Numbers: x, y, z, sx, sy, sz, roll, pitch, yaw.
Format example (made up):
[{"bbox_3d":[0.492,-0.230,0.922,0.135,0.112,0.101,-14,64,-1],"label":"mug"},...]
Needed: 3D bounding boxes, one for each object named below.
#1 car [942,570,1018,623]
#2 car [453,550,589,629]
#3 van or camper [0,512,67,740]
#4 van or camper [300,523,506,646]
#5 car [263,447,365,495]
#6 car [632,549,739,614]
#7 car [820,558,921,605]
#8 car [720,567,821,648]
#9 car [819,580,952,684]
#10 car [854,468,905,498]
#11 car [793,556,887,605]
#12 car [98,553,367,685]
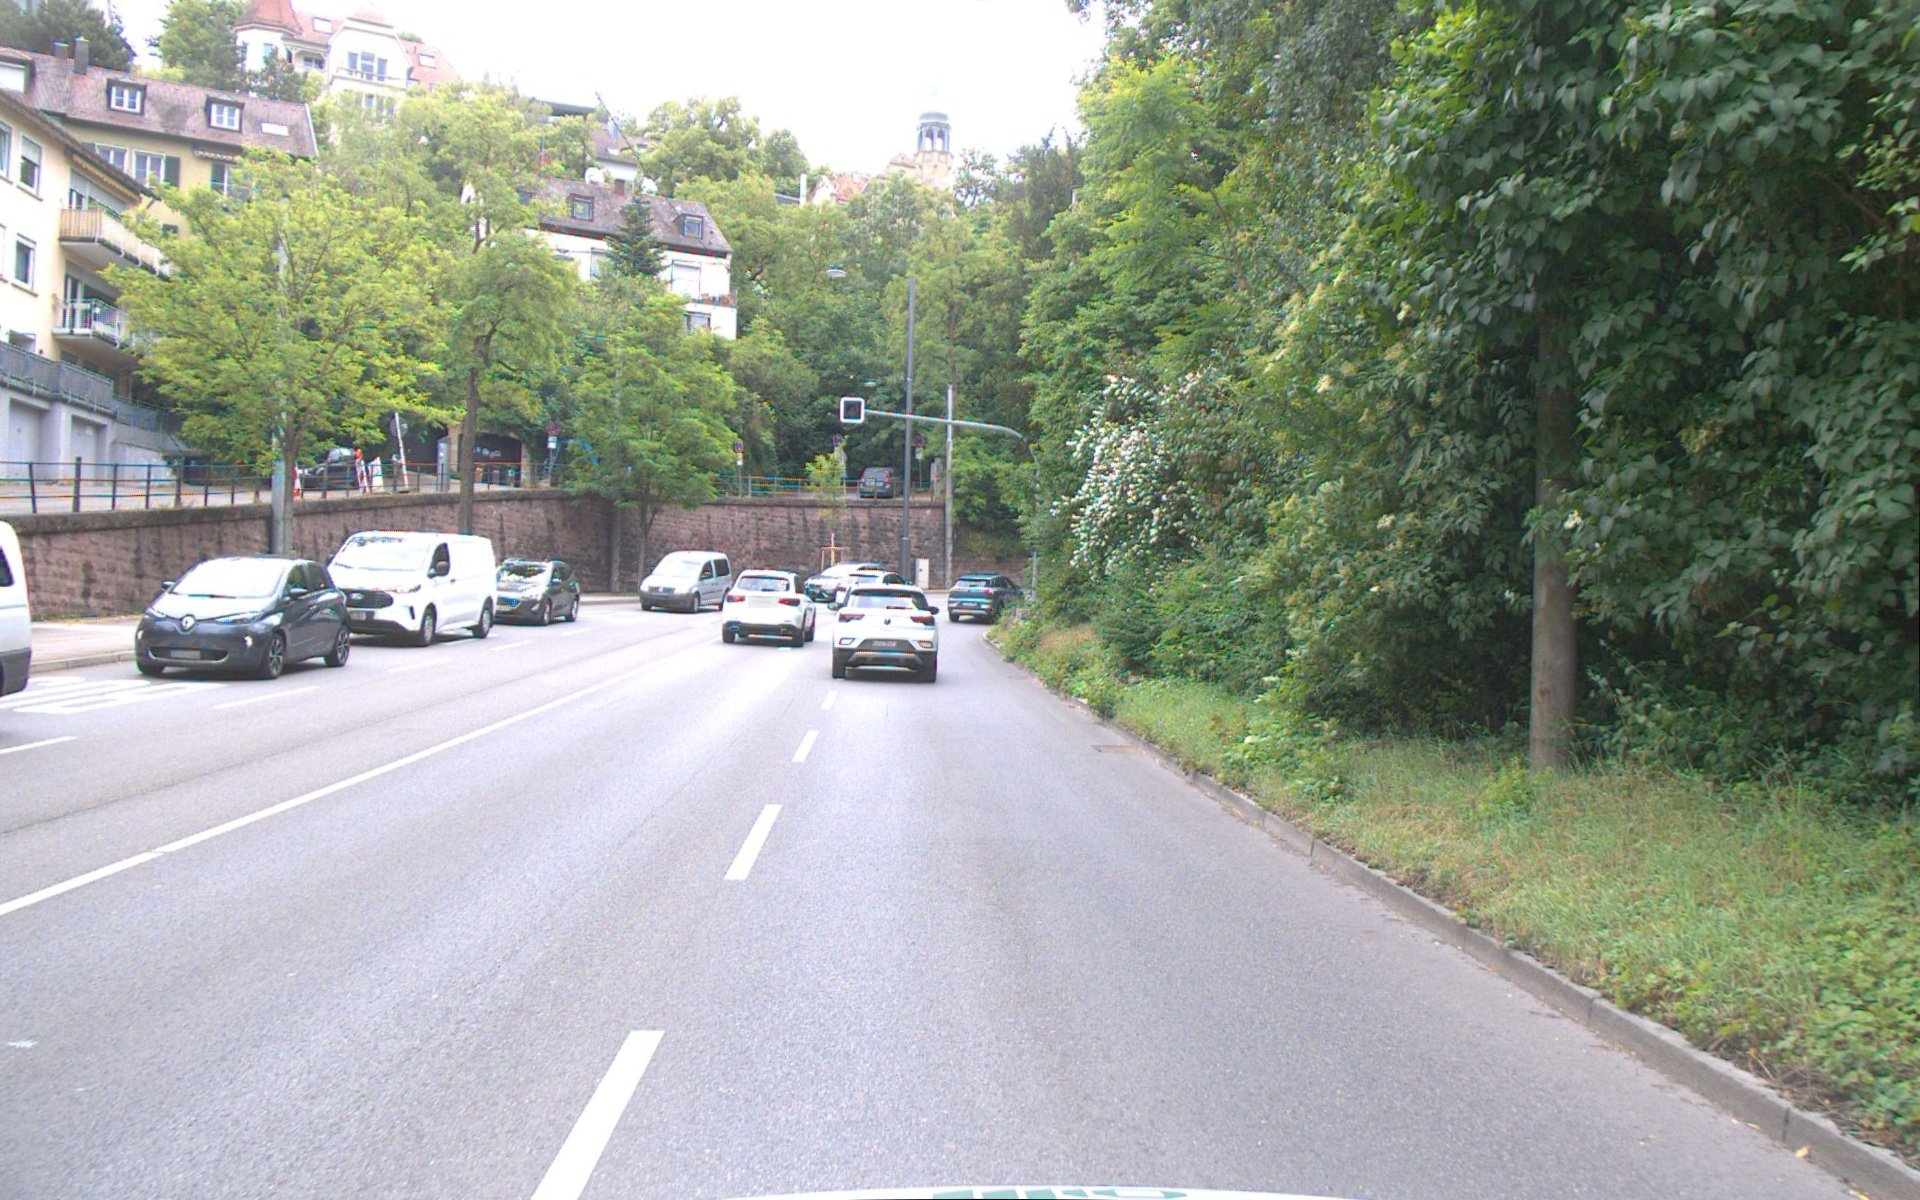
[{"bbox_3d":[0.718,-0.120,55.999,1.821,1.660,3.962,-2,0,12],"label":"car"},{"bbox_3d":[-10.476,-0.307,39.784,1.953,1.645,4.330,4,2,1],"label":"car"},{"bbox_3d":[-8.979,0.209,12.265,1.954,1.928,5.454,2,0,-3],"label":"van or camper"},{"bbox_3d":[-10.236,-0.292,30.935,1.953,2.049,5.561,2,1,0],"label":"van or camper"},{"bbox_3d":[-21.211,-4.210,54.453,1.518,1.302,3.602,0,0,9],"label":"car"},{"bbox_3d":[-8.553,-0.603,51.860,1.904,1.829,4.290,4,2,10],"label":"car"},{"bbox_3d":[-3.011,-0.634,56.663,2.200,1.545,4.311,1,1,15],"label":"car"},{"bbox_3d":[-4.341,0.156,38.498,1.839,1.680,4.340,3,0,-1],"label":"car"},{"bbox_3d":[-1.346,0.491,28.308,1.830,1.583,3.887,3,0,-9],"label":"car"},{"bbox_3d":[-4.119,-6.029,85.200,1.951,1.511,4.005,1,4,8],"label":"car"},{"bbox_3d":[-4.579,-0.739,63.719,1.906,1.723,4.285,4,2,21],"label":"car"},{"bbox_3d":[-9.694,0.214,22.422,1.954,1.547,3.989,2,1,-2],"label":"car"}]
